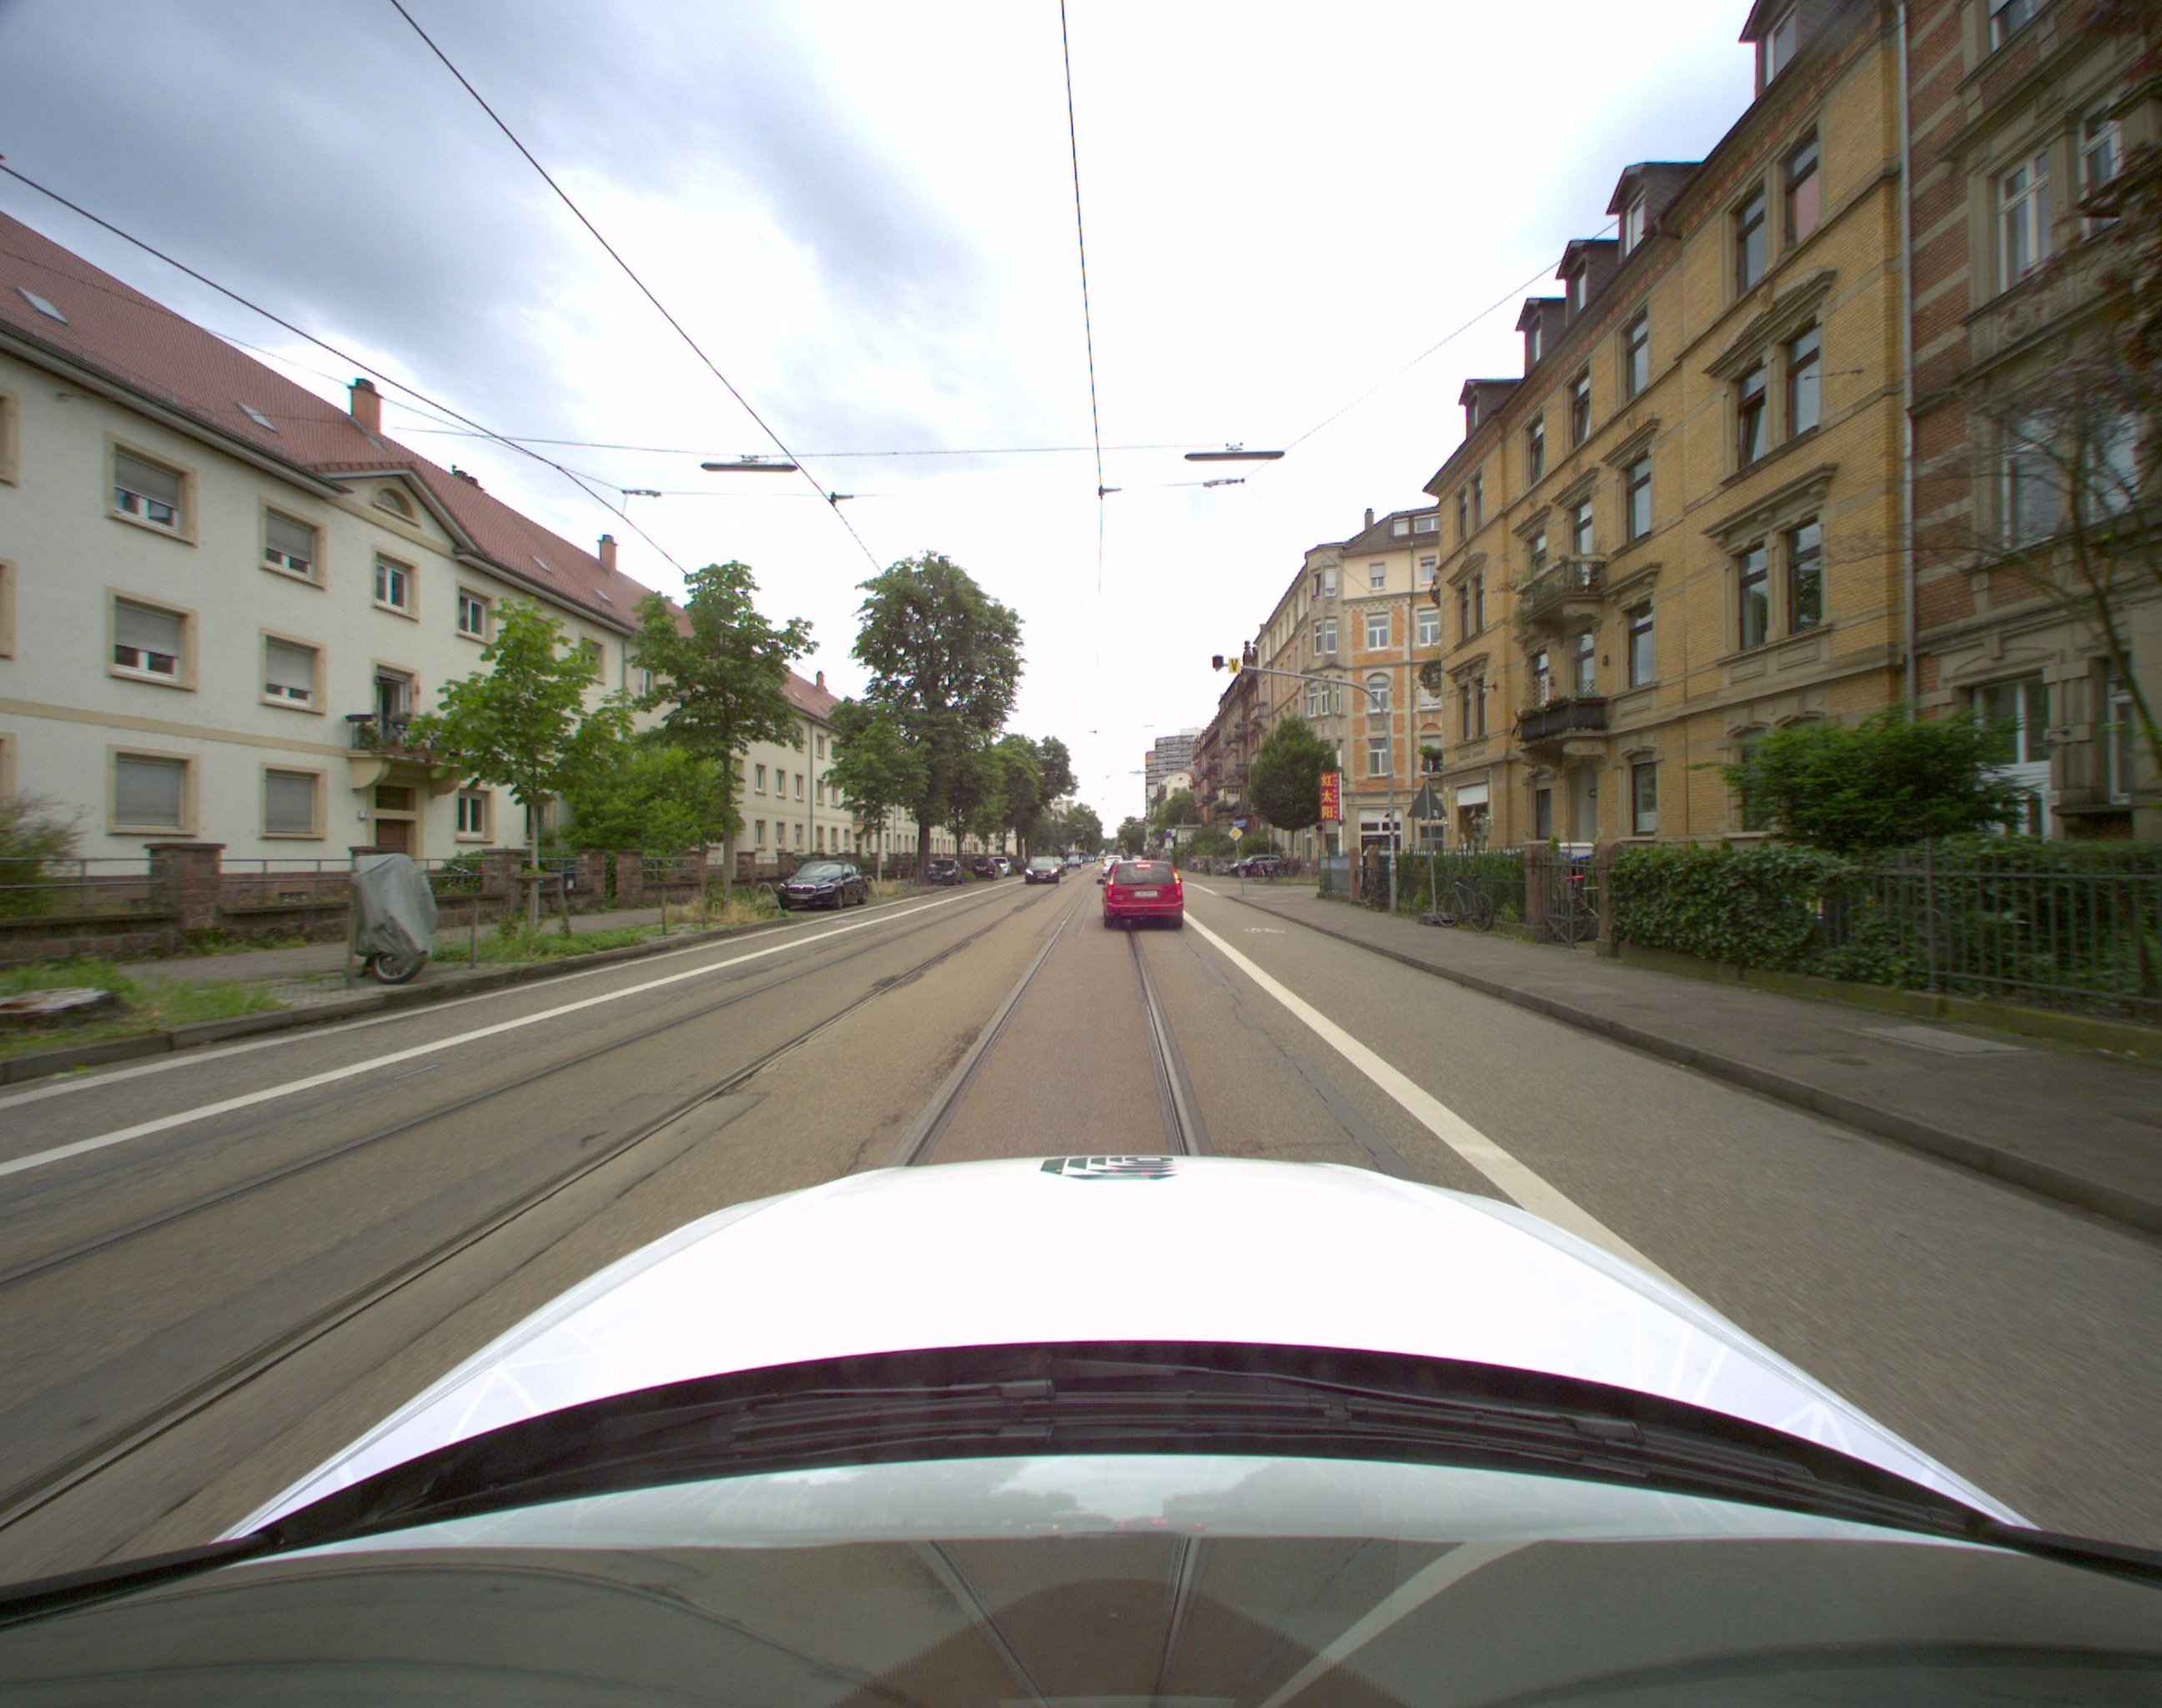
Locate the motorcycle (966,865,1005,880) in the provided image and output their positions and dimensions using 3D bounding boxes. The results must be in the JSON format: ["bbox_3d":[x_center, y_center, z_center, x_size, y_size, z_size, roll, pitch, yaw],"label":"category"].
[{"bbox_3d":[-7.188,1.365,61.534,2.865,1.077,1.098,-1,0,-5],"label":"motorcycle"}]

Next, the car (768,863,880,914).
[{"bbox_3d":[-7.882,1.019,25.477,1.882,1.398,4.420,0,0,3],"label":"car"}]

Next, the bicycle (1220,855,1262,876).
[{"bbox_3d":[12.198,0.877,62.169,2.966,1.624,1.049,0,0,-1],"label":"bicycle"}]

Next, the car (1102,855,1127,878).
[{"bbox_3d":[2.502,0.922,59.867,1.711,1.625,3.945,0,0,4],"label":"car"}]

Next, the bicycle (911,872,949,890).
[{"bbox_3d":[-7.504,1.342,40.406,1.741,0.844,0.684,0,0,2],"label":"bicycle"}]

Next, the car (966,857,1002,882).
[{"bbox_3d":[-6.506,1.016,55.155,1.844,1.563,3.945,0,0,2],"label":"car"}]

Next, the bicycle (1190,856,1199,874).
[{"bbox_3d":[9.199,0.874,66.178,0.549,1.400,1.735,0,0,2],"label":"bicycle"}]

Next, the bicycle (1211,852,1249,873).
[{"bbox_3d":[12.083,0.684,66.084,2.966,1.624,1.049,0,0,-1],"label":"bicycle"}]

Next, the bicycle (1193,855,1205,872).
[{"bbox_3d":[9.051,0.706,62.505,0.705,1.300,1.905,-1,0,2],"label":"bicycle"}]

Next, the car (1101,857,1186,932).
[{"bbox_3d":[1.309,0.811,18.076,1.682,1.441,3.745,-1,0,2],"label":"car"}]

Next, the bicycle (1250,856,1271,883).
[{"bbox_3d":[10.259,0.852,46.508,0.909,1.507,2.392,0,0,19],"label":"bicycle"}]

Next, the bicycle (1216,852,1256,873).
[{"bbox_3d":[12.102,0.683,63.605,2.966,1.624,1.049,0,0,-1],"label":"bicycle"}]

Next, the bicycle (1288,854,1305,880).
[{"bbox_3d":[12.613,0.745,47.550,0.783,1.507,2.392,0,0,19],"label":"bicycle"}]

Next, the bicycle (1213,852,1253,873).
[{"bbox_3d":[12.064,0.683,64.770,2.966,1.624,1.049,0,0,-1],"label":"bicycle"}]

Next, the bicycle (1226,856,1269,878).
[{"bbox_3d":[12.156,0.958,59.529,2.966,1.624,1.049,0,0,-1],"label":"bicycle"}]

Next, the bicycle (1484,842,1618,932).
[{"bbox_3d":[9.067,0.591,15.922,0.987,1.603,2.965,0,0,2],"label":"bicycle"}]

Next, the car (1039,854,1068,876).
[{"bbox_3d":[-2.065,0.838,62.471,1.887,1.611,4.502,0,0,2],"label":"car"}]

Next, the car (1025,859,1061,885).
[{"bbox_3d":[-2.078,0.959,45.372,1.749,1.380,4.027,0,0,1],"label":"car"}]

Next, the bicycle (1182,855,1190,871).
[{"bbox_3d":[9.760,0.783,75.773,0.553,1.458,2.988,0,0,3],"label":"bicycle"}]

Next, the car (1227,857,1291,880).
[{"bbox_3d":[11.405,0.921,52.257,3.960,1.361,1.898,-1,0,12],"label":"car"}]

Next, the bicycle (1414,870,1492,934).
[{"bbox_3d":[7.126,0.879,15.717,0.521,1.099,2.177,-3,0,2],"label":"bicycle"}]

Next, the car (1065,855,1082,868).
[{"bbox_3d":[-0.881,0.898,98.557,1.886,1.611,4.503,0,0,2],"label":"car"}]

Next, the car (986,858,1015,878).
[{"bbox_3d":[-6.542,1.132,66.532,1.707,1.580,4.002,1,0,2],"label":"car"}]

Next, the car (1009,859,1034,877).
[{"bbox_3d":[-5.117,1.181,70.896,1.713,1.486,4.002,-1,0,2],"label":"car"}]

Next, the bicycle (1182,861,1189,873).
[{"bbox_3d":[9.236,1.137,72.032,0.488,1.099,1.735,-1,0,2],"label":"bicycle"}]

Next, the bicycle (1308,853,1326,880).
[{"bbox_3d":[13.577,0.697,46.829,0.909,1.507,2.392,0,0,19],"label":"bicycle"}]

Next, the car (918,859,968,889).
[{"bbox_3d":[-7.068,0.998,42.084,1.710,1.482,4.004,0,0,3],"label":"car"}]

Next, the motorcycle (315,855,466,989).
[{"bbox_3d":[-8.679,0.785,10.206,2.243,1.511,0.932,-1,-2,37],"label":"motorcycle"}]

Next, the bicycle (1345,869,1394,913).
[{"bbox_3d":[7.233,0.905,20.513,0.521,1.030,2.177,0,0,2],"label":"bicycle"}]

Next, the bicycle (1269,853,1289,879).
[{"bbox_3d":[11.580,0.677,47.667,0.909,1.507,2.392,0,0,19],"label":"bicycle"}]
